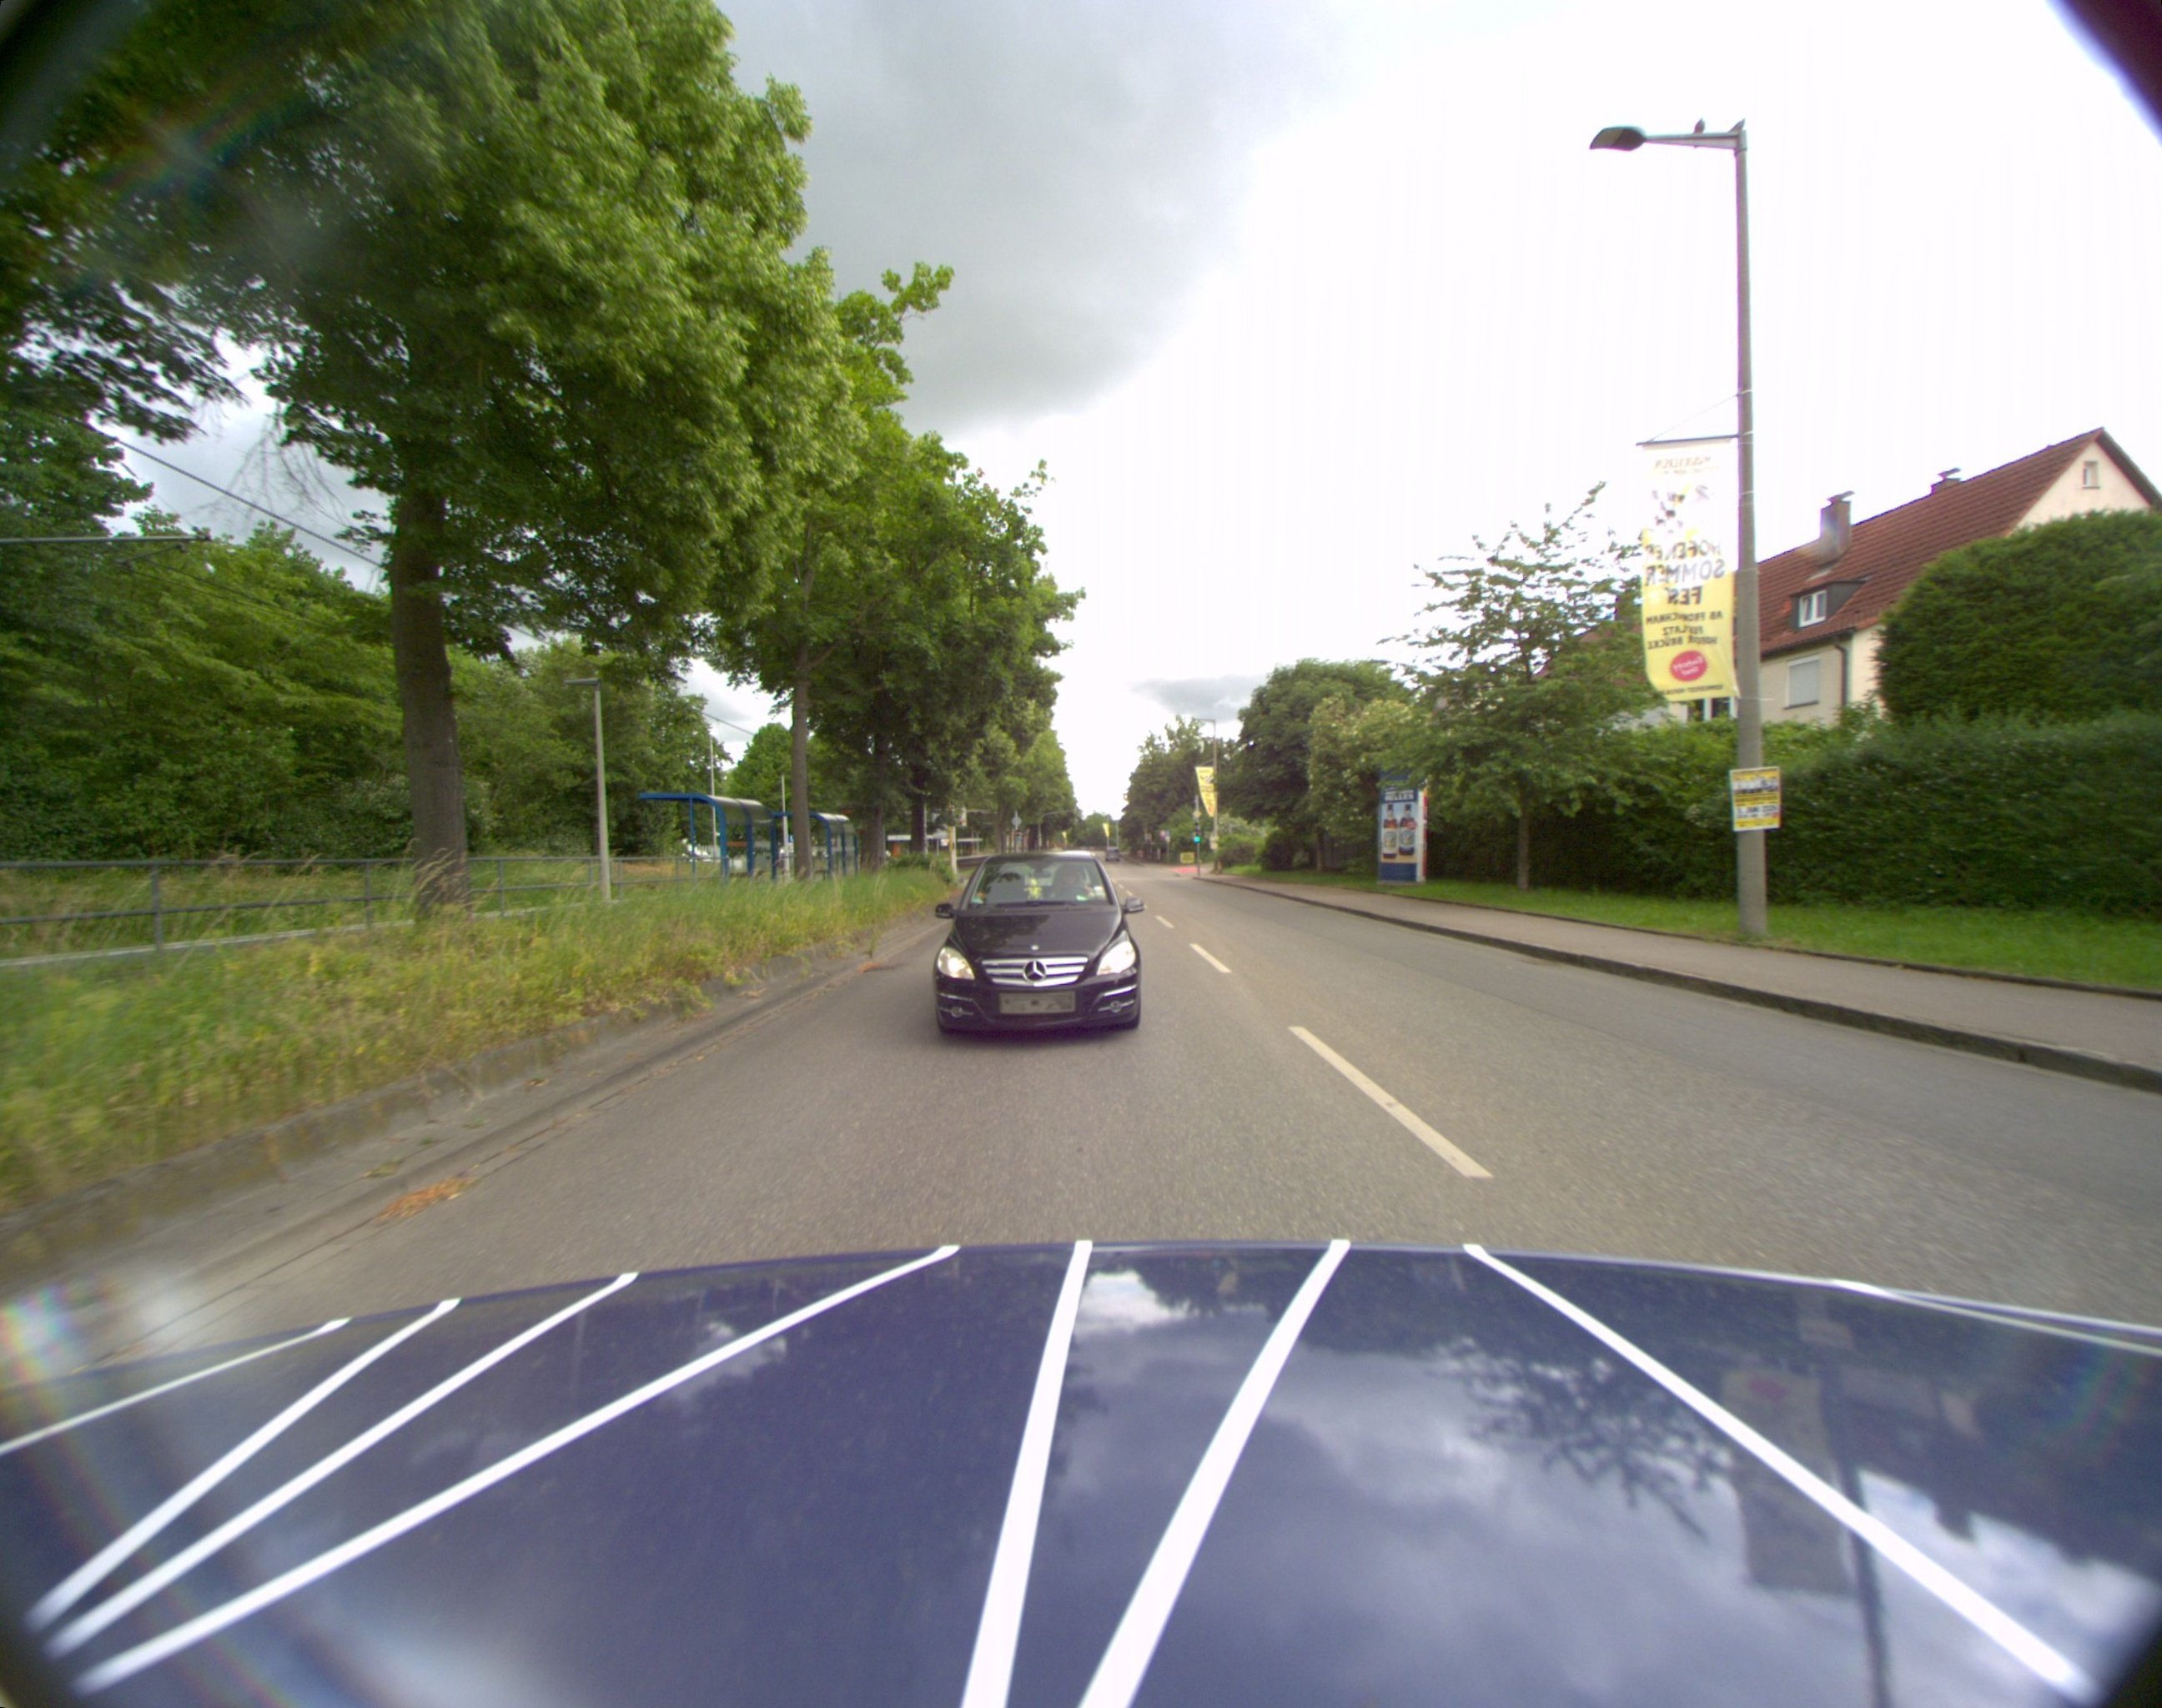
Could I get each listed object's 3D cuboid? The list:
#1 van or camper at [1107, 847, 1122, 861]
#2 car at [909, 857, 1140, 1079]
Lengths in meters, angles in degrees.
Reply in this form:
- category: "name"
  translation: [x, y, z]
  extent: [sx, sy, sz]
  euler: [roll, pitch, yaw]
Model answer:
- category: "van or camper"
  translation: [4.755, -0.070, 108.304]
  extent: [1.918, 1.888, 4.811]
  euler: [-2, 0, 0]
- category: "car"
  translation: [-0.450, 0.879, 8.038]
  extent: [1.683, 1.565, 4.482]
  euler: [-3, 1, -1]
